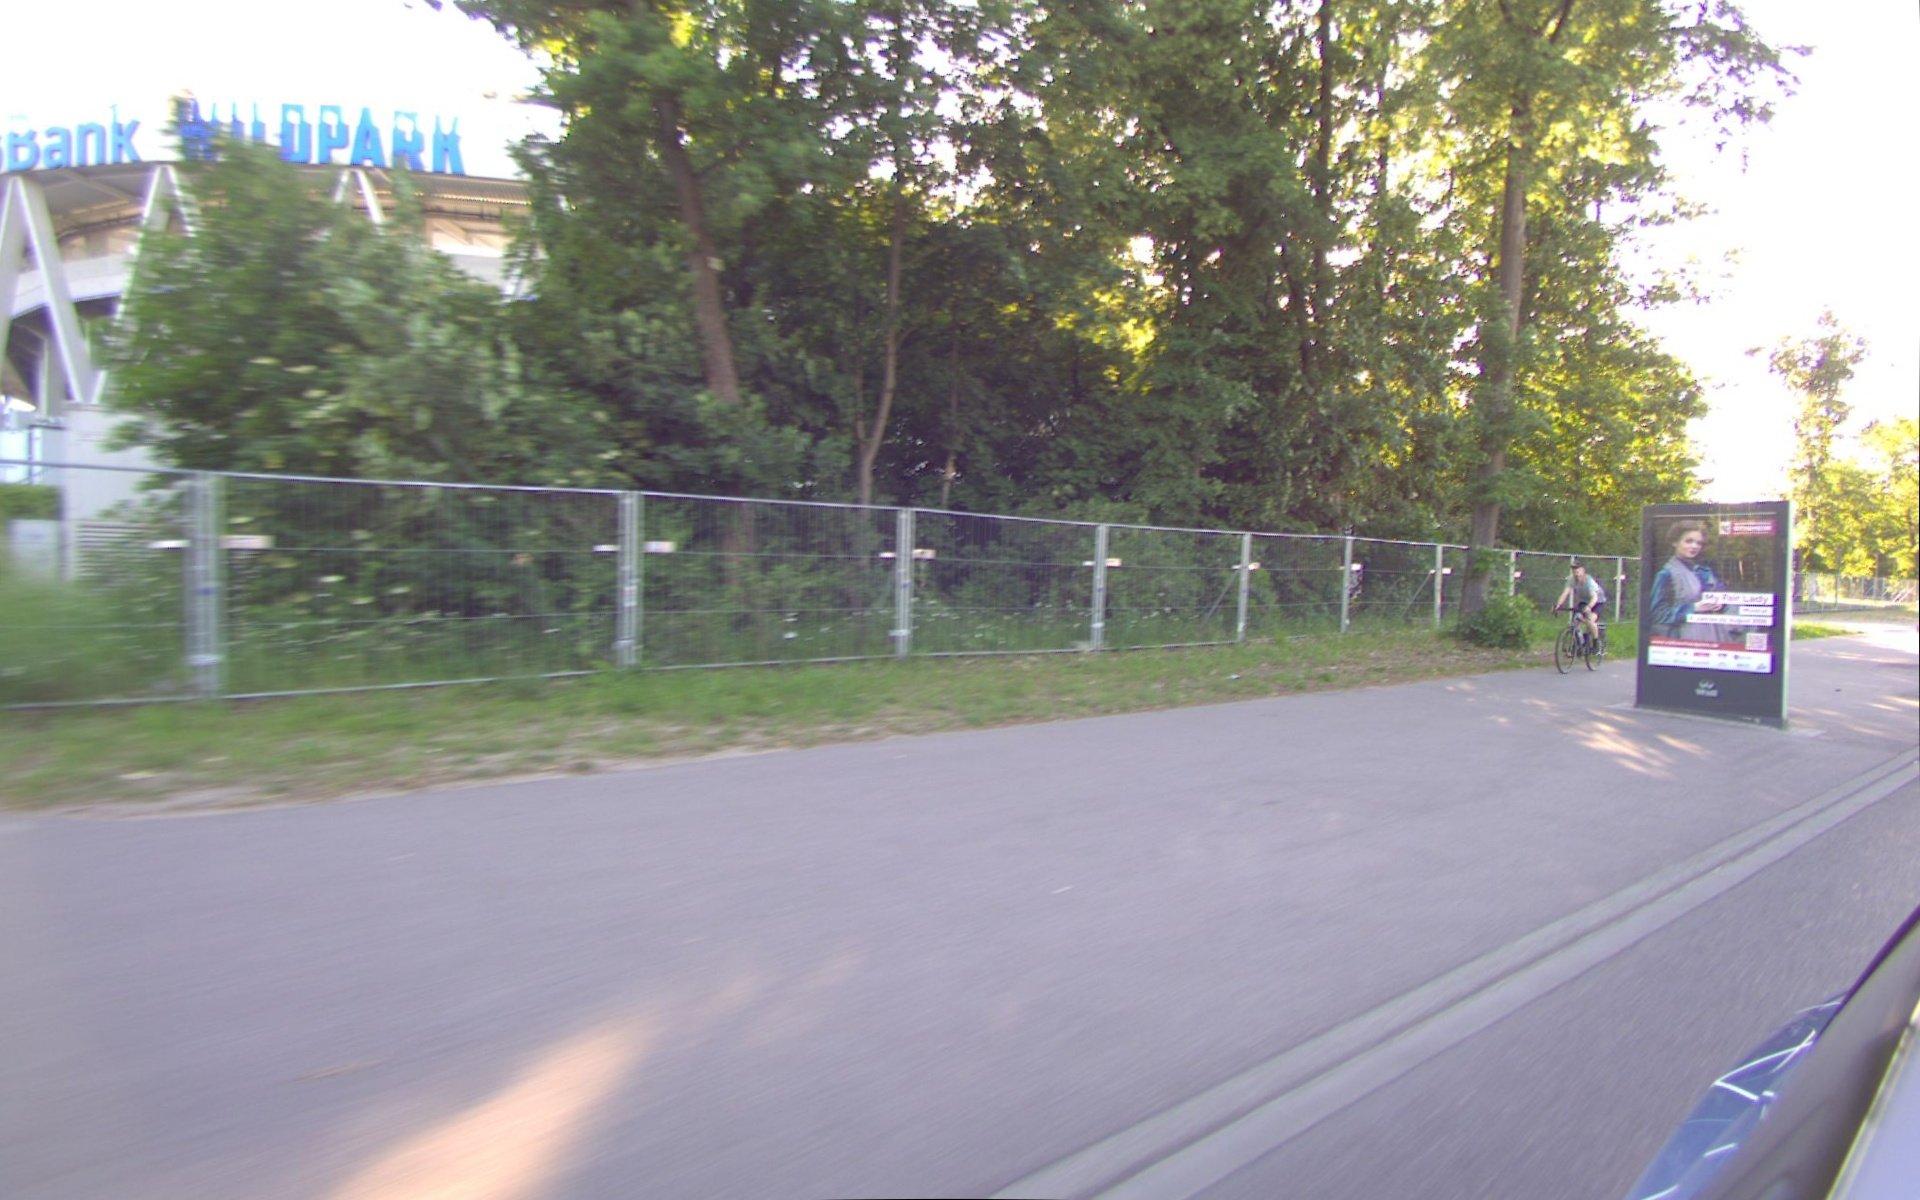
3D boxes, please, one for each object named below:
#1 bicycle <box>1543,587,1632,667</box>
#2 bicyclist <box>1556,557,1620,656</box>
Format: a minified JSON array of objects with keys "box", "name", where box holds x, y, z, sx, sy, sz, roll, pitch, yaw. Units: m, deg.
[{"box":[9.837,0.395,15.846,1.830,1.151,0.556,-1,4,-39],"name":"bicycle"},{"box":[9.792,0.081,15.776,0.845,1.487,0.522,0,3,-39],"name":"bicyclist"}]
